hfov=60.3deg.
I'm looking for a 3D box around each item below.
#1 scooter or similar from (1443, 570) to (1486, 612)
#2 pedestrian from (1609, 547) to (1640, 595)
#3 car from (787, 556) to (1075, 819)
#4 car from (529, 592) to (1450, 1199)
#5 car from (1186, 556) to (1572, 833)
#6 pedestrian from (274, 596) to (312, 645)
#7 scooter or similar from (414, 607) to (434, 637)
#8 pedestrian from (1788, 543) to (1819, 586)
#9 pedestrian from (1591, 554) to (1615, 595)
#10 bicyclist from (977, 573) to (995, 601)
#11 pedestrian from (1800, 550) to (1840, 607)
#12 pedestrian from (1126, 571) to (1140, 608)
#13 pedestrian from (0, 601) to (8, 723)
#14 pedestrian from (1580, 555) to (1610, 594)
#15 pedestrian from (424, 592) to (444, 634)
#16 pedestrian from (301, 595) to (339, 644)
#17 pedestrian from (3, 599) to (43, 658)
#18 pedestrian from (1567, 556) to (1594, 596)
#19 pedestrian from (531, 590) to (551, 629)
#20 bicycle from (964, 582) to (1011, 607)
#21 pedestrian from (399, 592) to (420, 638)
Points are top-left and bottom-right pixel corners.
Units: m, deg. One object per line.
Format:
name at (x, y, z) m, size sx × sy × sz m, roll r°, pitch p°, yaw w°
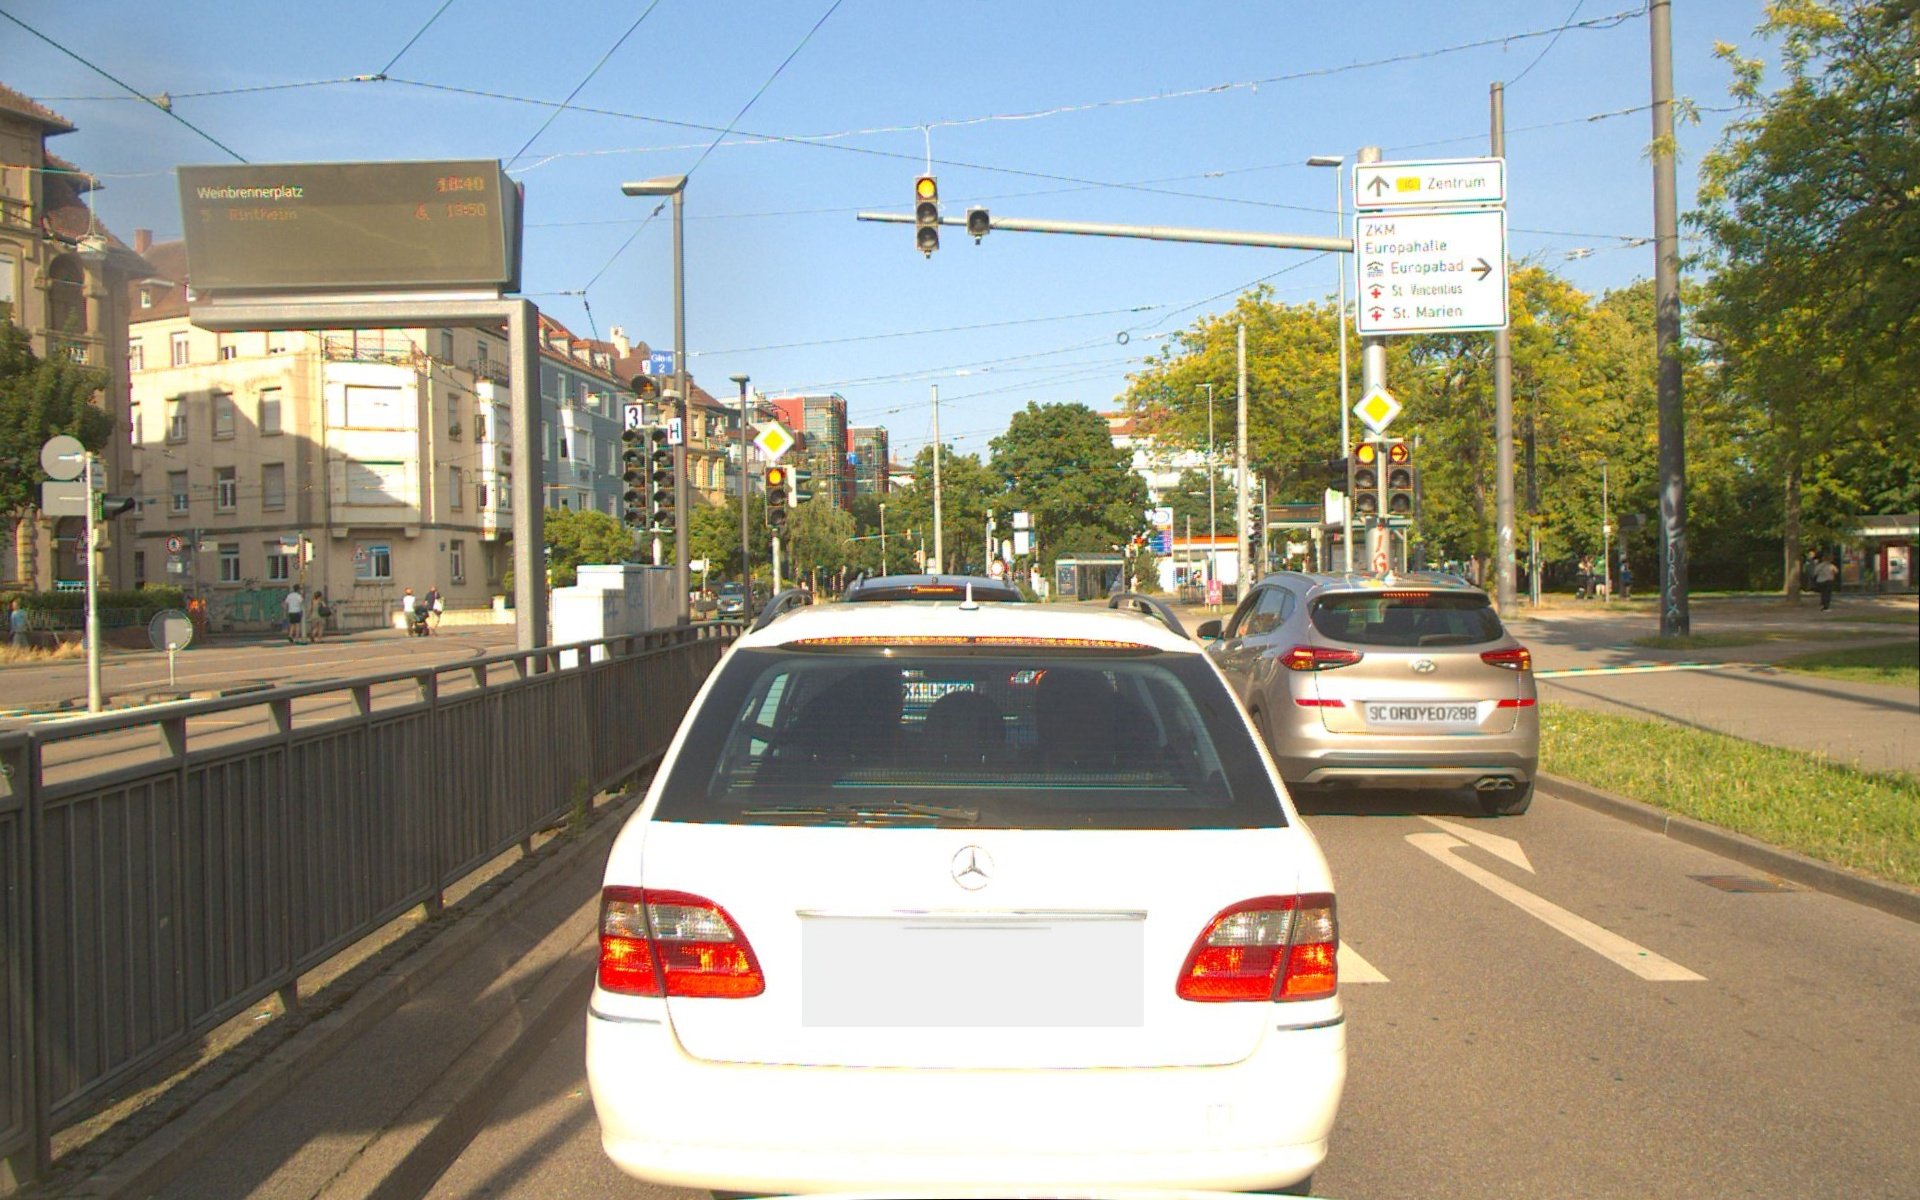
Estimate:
scooter or similar at (13.941, -0.241, 45.760) m, size 0.413 × 1.136 × 1.322 m, roll -1°, pitch 0°, yaw -20°
pedestrian at (25.883, -1.119, 64.414) m, size 0.784 × 1.816 × 0.838 m, roll -1°, pitch 0°, yaw -5°
car at (-0.206, 0.555, 12.553) m, size 1.846 × 1.680 × 3.647 m, roll 1°, pitch 0°, yaw -1°
car at (0.022, 0.734, 4.988) m, size 1.759 × 1.496 × 3.647 m, roll 0°, pitch 0°, yaw -1°
car at (2.877, 0.575, 12.180) m, size 1.846 × 1.680 × 3.647 m, roll -2°, pitch 0°, yaw -1°
pedestrian at (-22.053, 0.663, 54.712) m, size 0.812 × 1.579 × 0.782 m, roll -1°, pitch 0°, yaw 21°
scooter or similar at (-19.914, 0.813, 61.443) m, size 0.532 × 1.098 × 0.683 m, roll 1°, pitch 0°, yaw -1°
pedestrian at (33.309, -1.393, 65.337) m, size 0.818 × 1.665 × 0.803 m, roll -1°, pitch 0°, yaw 5°
pedestrian at (24.605, -0.970, 63.239) m, size 0.797 × 1.513 × 0.700 m, roll -1°, pitch 0°, yaw 24°
bicyclist at (1.406, -0.693, 88.786) m, size 0.842 × 1.507 × 0.790 m, roll -1°, pitch 0°, yaw 8°
pedestrian at (25.513, -0.634, 49.054) m, size 0.748 × 1.665 × 0.797 m, roll -2°, pitch 0°, yaw -40°
pedestrian at (8.735, -0.529, 83.540) m, size 0.628 × 1.889 × 0.552 m, roll -1°, pitch 0°, yaw 11°
pedestrian at (-13.176, 0.838, 22.039) m, size 0.601 × 1.627 × 0.632 m, roll -1°, pitch 0°, yaw -7°
pedestrian at (24.865, -0.989, 64.754) m, size 0.799 × 1.513 × 0.699 m, roll -1°, pitch 0°, yaw -12°
pedestrian at (-19.283, 0.483, 60.645) m, size 0.428 × 1.527 × 0.549 m, roll -1°, pitch 0°, yaw 14°
pedestrian at (-21.106, 0.642, 54.567) m, size 0.812 × 1.579 × 0.782 m, roll -1°, pitch 0°, yaw 21°
pedestrian at (-25.231, 0.767, 44.542) m, size 0.616 × 1.568 × 0.711 m, roll -1°, pitch 0°, yaw -1°
pedestrian at (24.057, -0.924, 64.134) m, size 0.809 × 1.513 × 0.690 m, roll -2°, pitch 0°, yaw -42°
pedestrian at (-18.554, 0.414, 73.294) m, size 0.572 × 1.689 × 0.622 m, roll -1°, pitch 0°, yaw 18°
bicycle at (1.484, -0.302, 88.780) m, size 2.430 × 1.234 × 0.807 m, roll -1°, pitch 0°, yaw 7°
pedestrian at (-20.112, 0.552, 60.448) m, size 0.497 × 1.654 × 0.608 m, roll -1°, pitch 0°, yaw 0°
